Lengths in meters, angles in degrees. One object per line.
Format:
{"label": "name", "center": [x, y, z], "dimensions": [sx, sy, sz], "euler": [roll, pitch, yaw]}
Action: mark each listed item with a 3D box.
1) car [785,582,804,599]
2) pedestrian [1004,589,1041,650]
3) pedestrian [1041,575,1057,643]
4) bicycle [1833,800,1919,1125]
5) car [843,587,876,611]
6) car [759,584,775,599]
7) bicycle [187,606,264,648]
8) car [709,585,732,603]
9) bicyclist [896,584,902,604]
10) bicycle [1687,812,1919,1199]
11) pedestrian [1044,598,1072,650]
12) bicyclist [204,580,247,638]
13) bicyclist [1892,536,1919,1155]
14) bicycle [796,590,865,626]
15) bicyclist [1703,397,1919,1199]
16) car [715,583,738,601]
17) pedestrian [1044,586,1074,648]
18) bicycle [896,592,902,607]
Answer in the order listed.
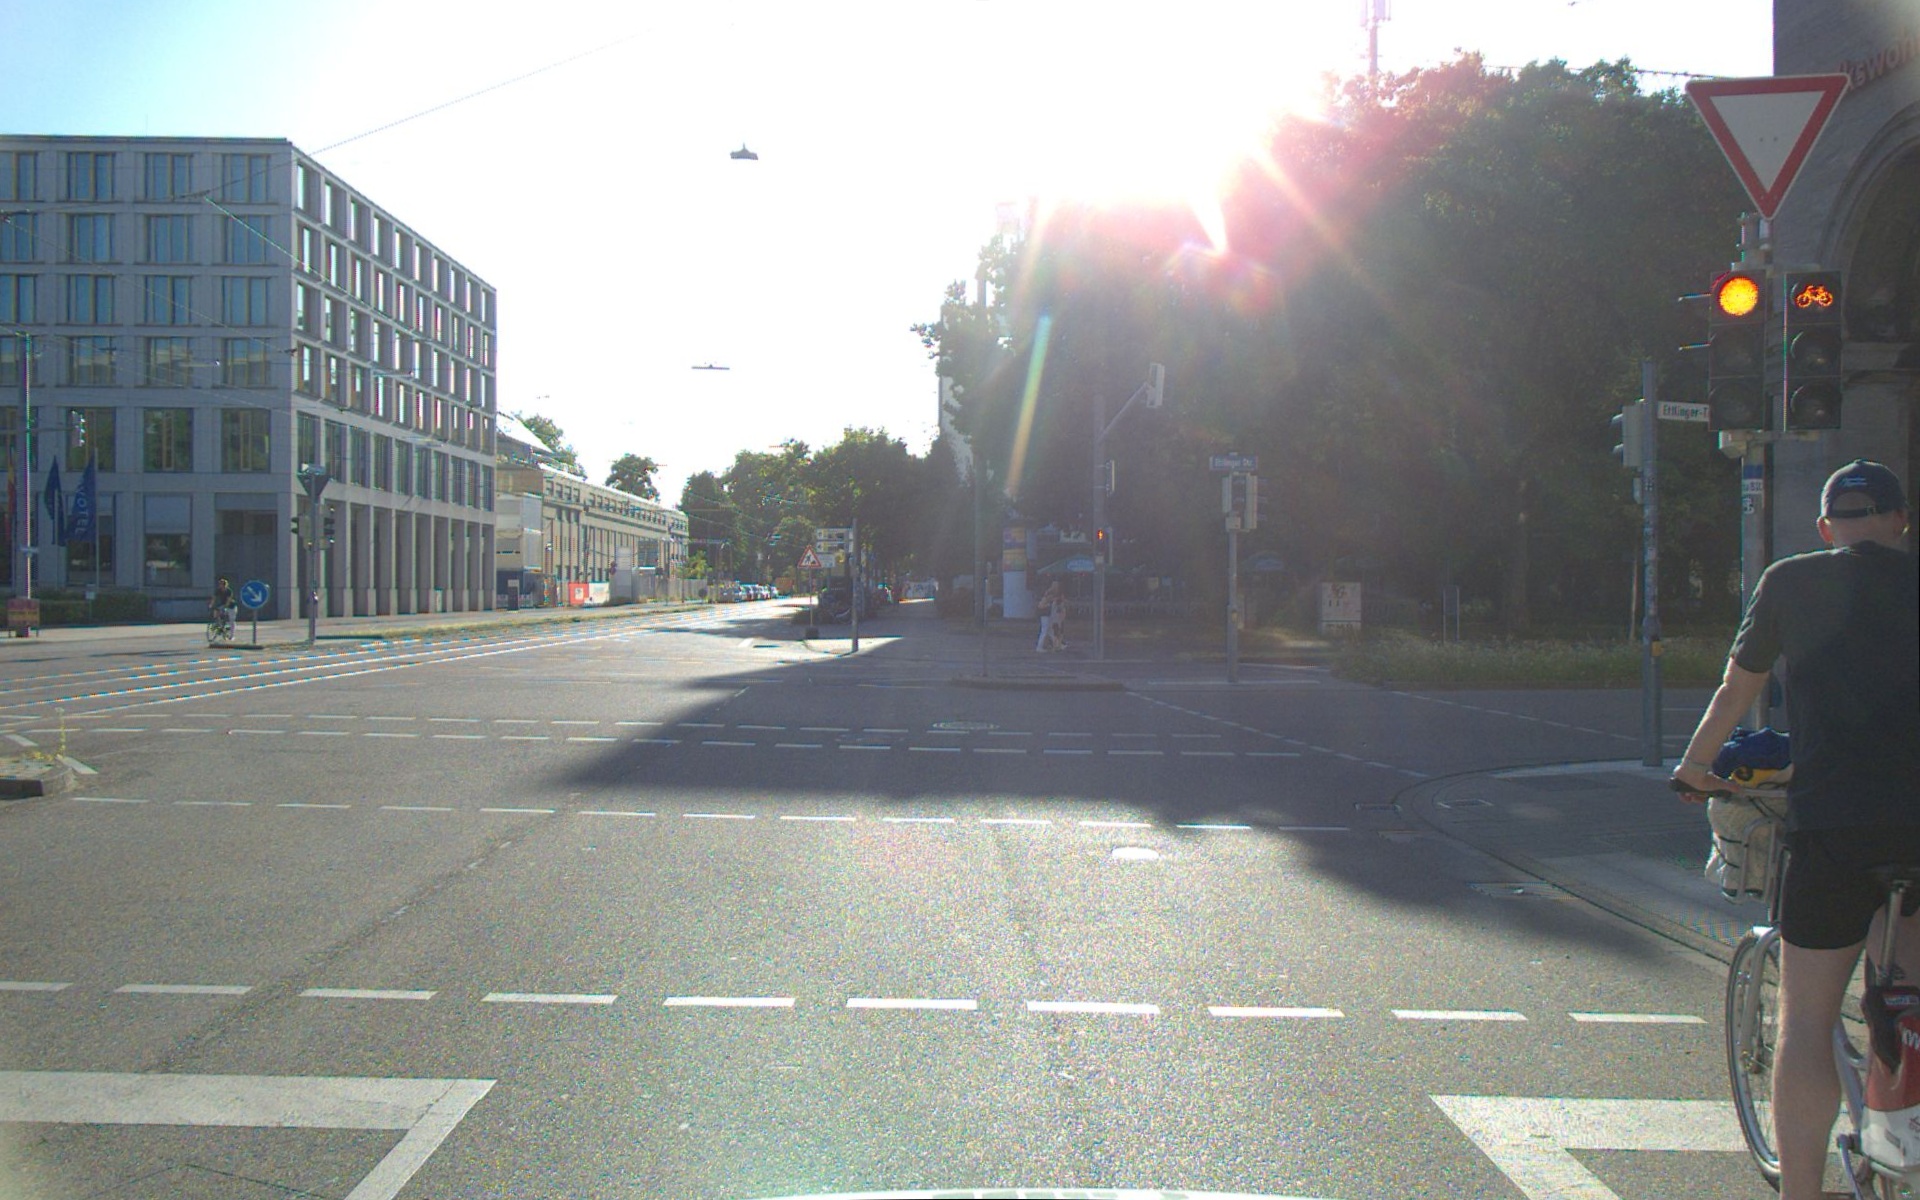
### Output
{"label": "car", "center": [-20.483, -1.200, 204.610], "dimensions": [1.953, 2.049, 3.999], "euler": [1, 0, -1]}
{"label": "pedestrian", "center": [1.652, 0.513, 43.783], "dimensions": [0.964, 1.615, 0.660], "euler": [0, -1, 1]}
{"label": "pedestrian", "center": [2.414, 0.254, 44.942], "dimensions": [0.353, 1.836, 0.507], "euler": [0, 0, 11]}
{"label": "bicycle", "center": [3.006, 1.096, 4.378], "dimensions": [0.418, 0.891, 1.951], "euler": [0, 0, 2]}
{"label": "car", "center": [-5.580, -0.071, 92.556], "dimensions": [1.783, 1.301, 3.998], "euler": [0, 0, -3]}
{"label": "car", "center": [-22.668, -1.008, 194.250], "dimensions": [1.453, 1.780, 3.999], "euler": [0, 0, -1]}
{"label": "bicycle", "center": [-21.073, 0.765, 47.546], "dimensions": [0.857, 1.140, 3.013], "euler": [0, 0, 0]}
{"label": "car", "center": [-22.530, -0.603, 155.611], "dimensions": [1.695, 1.682, 3.999], "euler": [0, 0, -1]}
{"label": "bicyclist", "center": [-3.620, -0.355, 98.393], "dimensions": [0.311, 1.147, 0.291], "euler": [0, 0, 3]}
{"label": "bicycle", "center": [2.221, 1.095, 3.922], "dimensions": [0.381, 0.921, 1.952], "euler": [0, 0, 8]}
{"label": "pedestrian", "center": [2.595, 0.622, 43.698], "dimensions": [0.736, 1.356, 0.743], "euler": [0, 0, 3]}
{"label": "bicyclist", "center": [-21.051, 0.254, 47.440], "dimensions": [0.857, 1.670, 0.822], "euler": [0, 0, 0]}
{"label": "bicyclist", "center": [2.889, 0.678, 4.254], "dimensions": [0.511, 1.709, 0.859], "euler": [0, 0, 2]}
{"label": "bicycle", "center": [-5.234, 0.327, 67.059], "dimensions": [2.688, 1.391, 0.631], "euler": [1, 0, 10]}
{"label": "bicyclist", "center": [2.118, 0.433, 3.712], "dimensions": [0.655, 1.707, 0.657], "euler": [0, 0, 8]}
{"label": "car", "center": [-22.541, -0.799, 159.681], "dimensions": [1.695, 1.682, 3.999], "euler": [0, 0, -1]}
{"label": "pedestrian", "center": [2.664, 0.452, 44.400], "dimensions": [0.779, 1.668, 0.533], "euler": [0, 0, 2]}
{"label": "bicycle", "center": [-3.653, -0.017, 98.500], "dimensions": [0.317, 0.883, 1.483], "euler": [0, 0, -1]}
